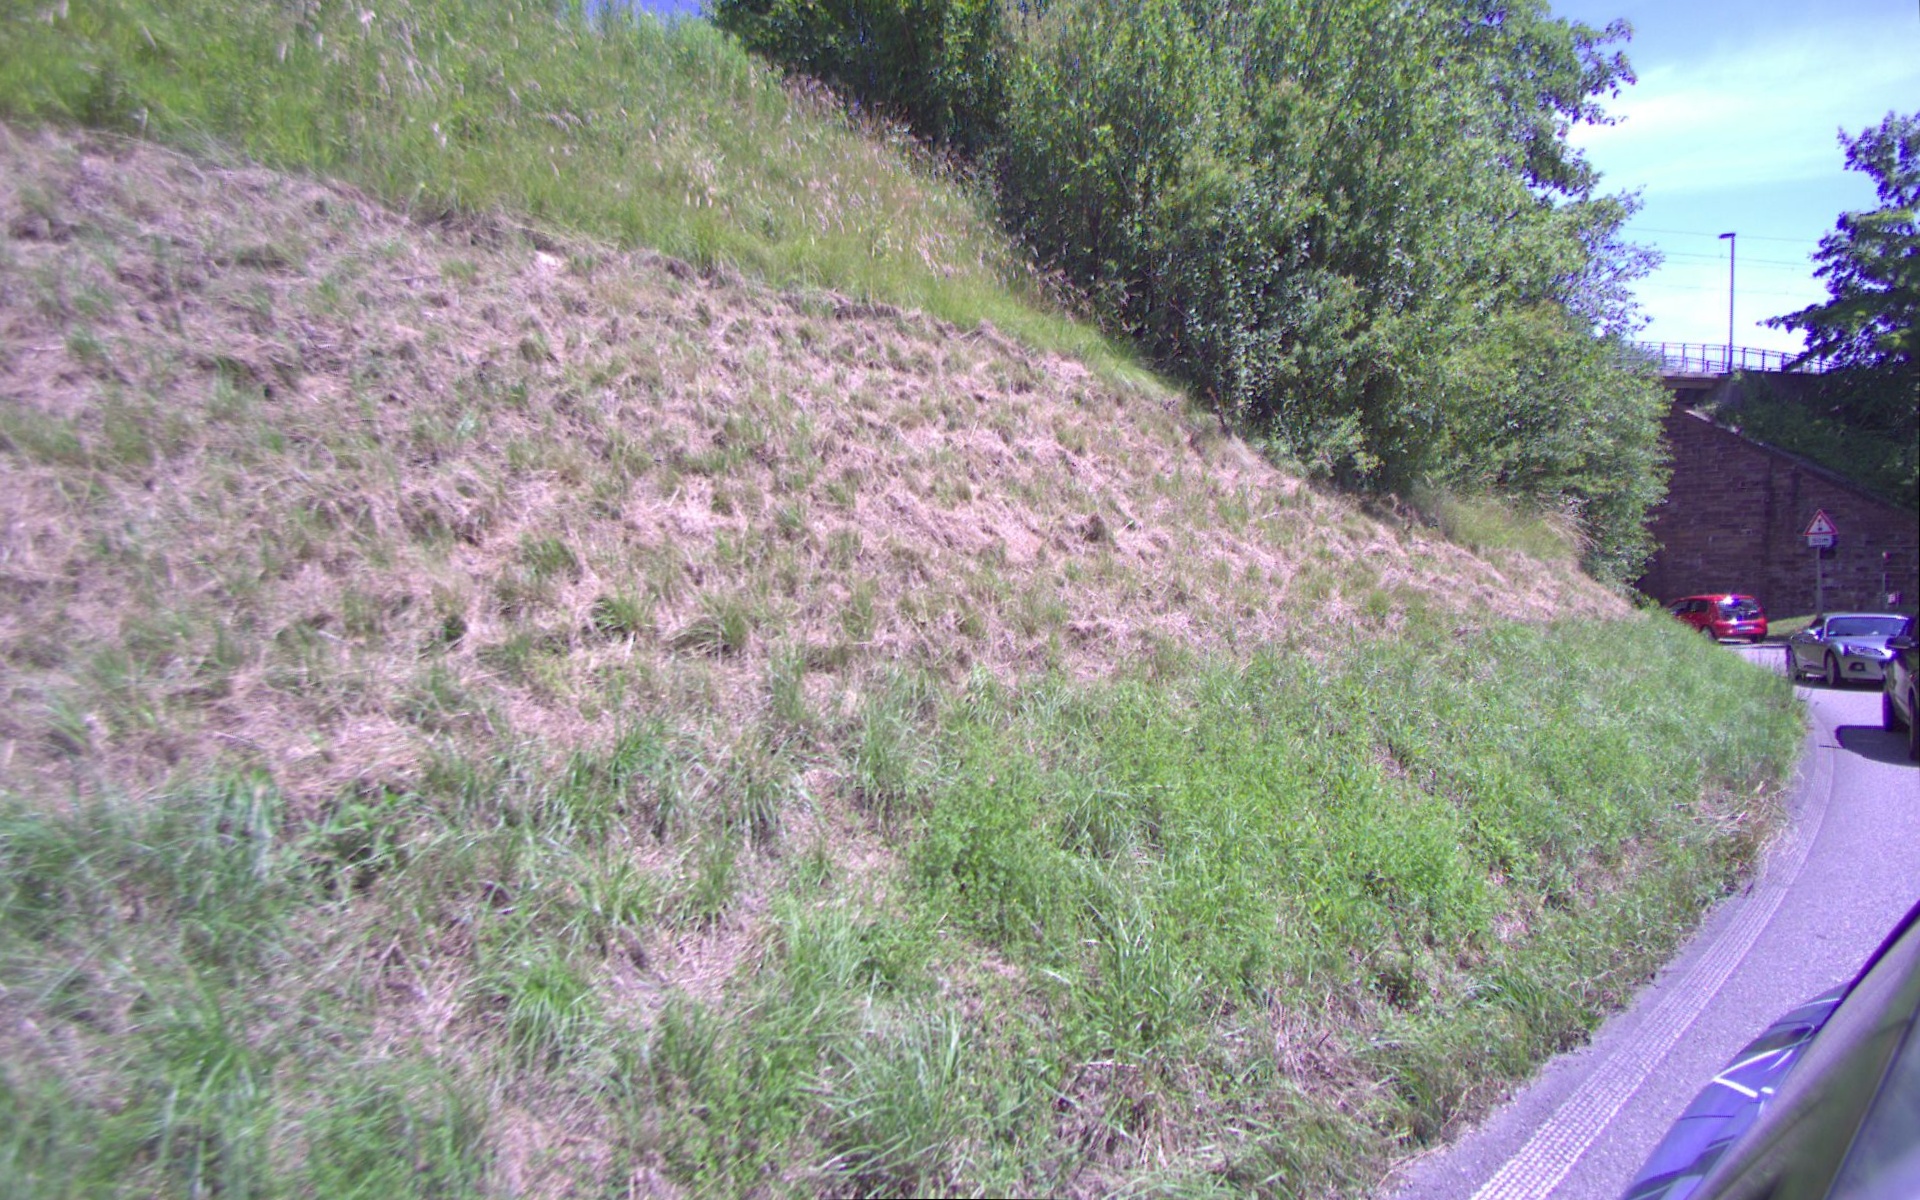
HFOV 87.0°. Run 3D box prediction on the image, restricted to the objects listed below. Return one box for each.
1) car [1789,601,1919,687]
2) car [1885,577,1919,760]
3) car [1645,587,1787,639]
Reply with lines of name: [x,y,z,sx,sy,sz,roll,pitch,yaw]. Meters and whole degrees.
car: [15.776,0.703,17.514,1.634,1.339,3.401,-2,-1,30]
car: [10.219,0.587,9.692,1.788,1.599,3.745,0,0,39]
car: [23.373,0.379,31.447,1.630,1.476,3.635,-2,0,1]
